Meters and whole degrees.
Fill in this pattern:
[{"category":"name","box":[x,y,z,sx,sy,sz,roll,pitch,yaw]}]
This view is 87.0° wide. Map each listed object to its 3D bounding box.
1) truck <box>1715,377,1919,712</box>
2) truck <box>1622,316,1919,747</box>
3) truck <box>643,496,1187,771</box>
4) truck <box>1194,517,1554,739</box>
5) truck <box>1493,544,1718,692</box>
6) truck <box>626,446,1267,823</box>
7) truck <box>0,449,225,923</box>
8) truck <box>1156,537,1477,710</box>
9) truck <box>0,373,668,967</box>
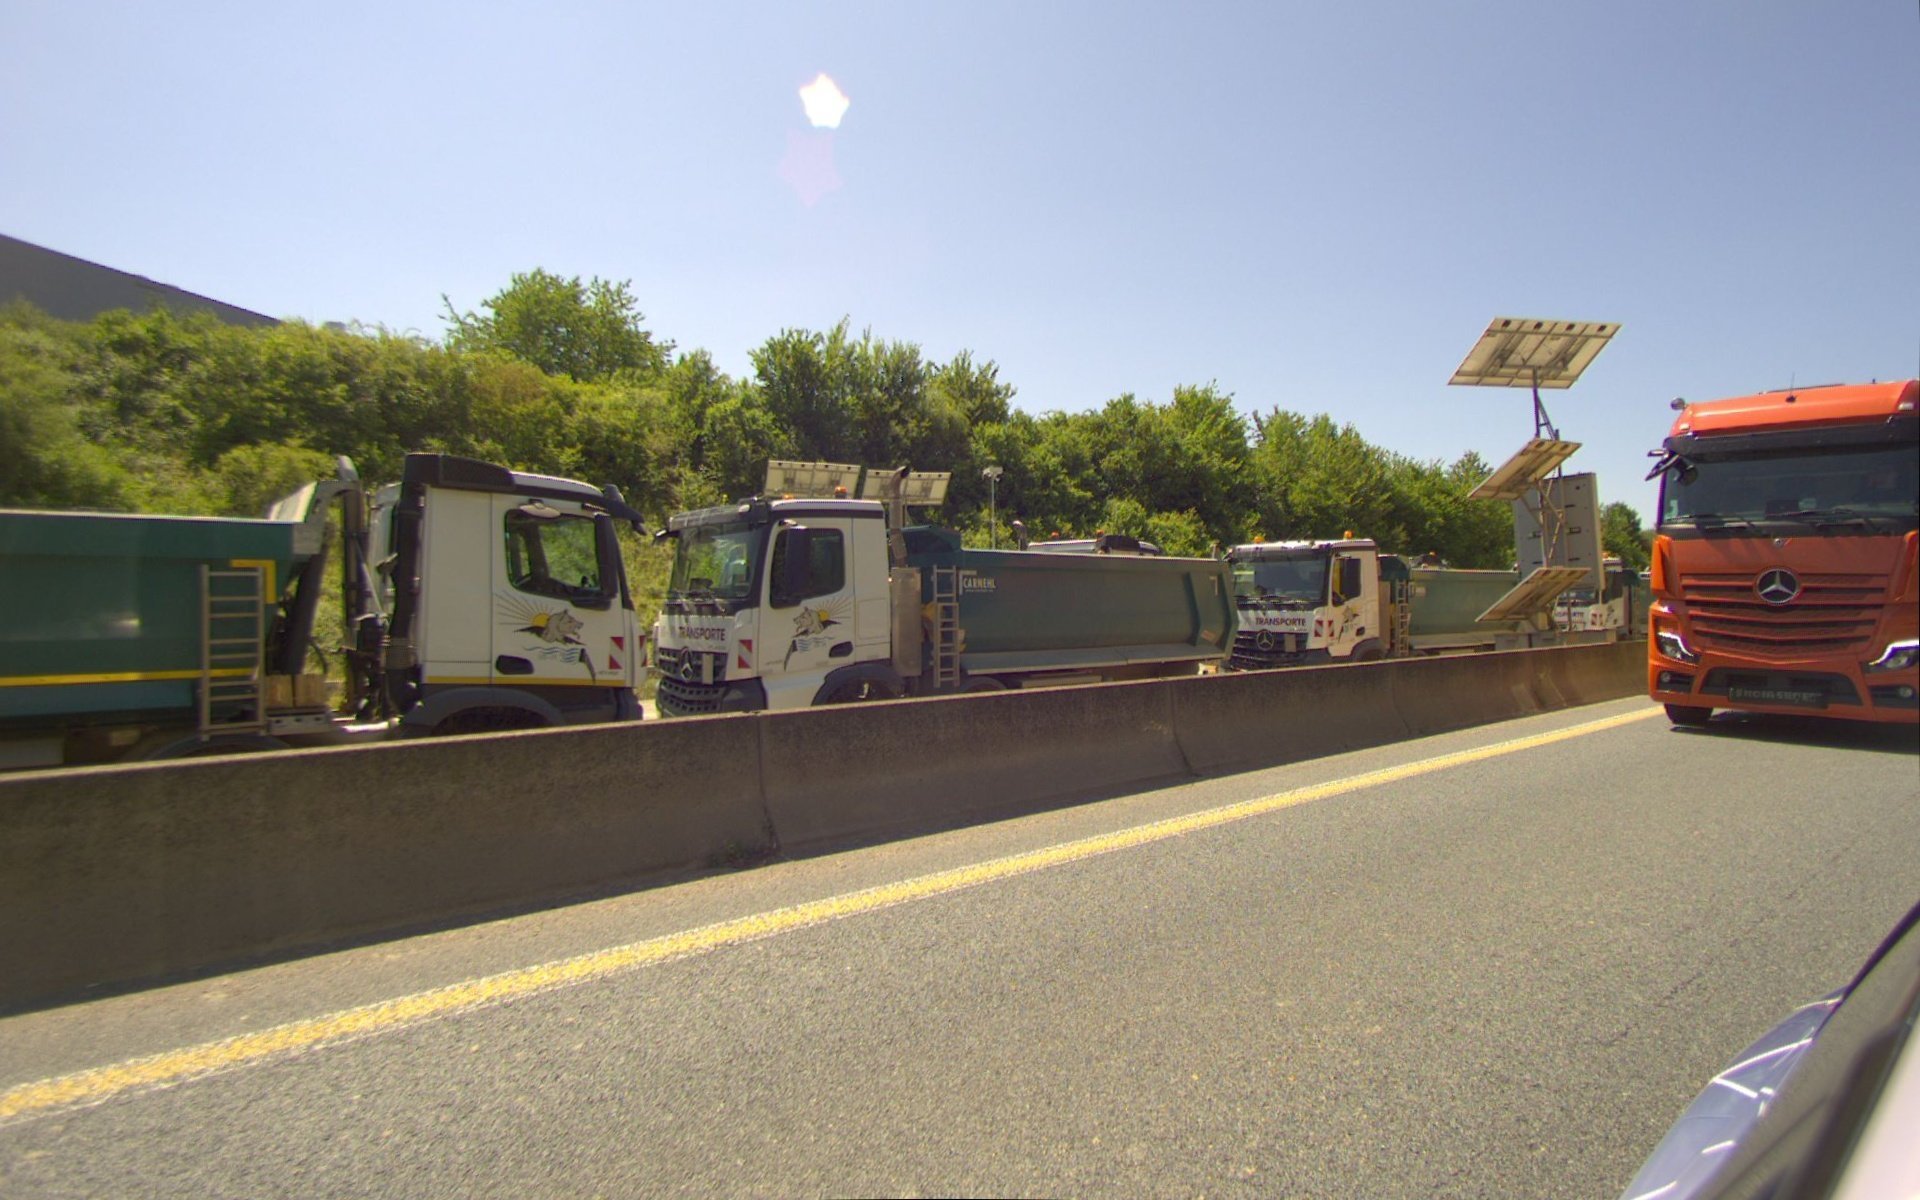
[{"category":"truck","box":[16.201,-0.746,16.905,12.982,4.061,2.688,-1,0,-39]},{"category":"truck","box":[10.893,-0.664,12.519,6.605,4.061,2.687,0,0,-40]},{"category":"truck","box":[-0.191,0.395,16.770,9.436,3.420,2.691,0,0,-41]},{"category":"truck","box":[8.696,0.437,20.453,9.238,3.602,2.693,0,0,-40]},{"category":"truck","box":[18.534,0.424,28.722,9.432,3.602,2.692,0,0,-40]},{"category":"truck","box":[0.447,0.305,13.718,9.163,3.602,2.691,0,0,-41]},{"category":"truck","box":[-10.933,0.702,7.120,9.162,3.808,2.692,0,0,-41]},{"category":"truck","box":[8.778,0.450,24.050,9.430,3.420,2.693,0,0,-39]},{"category":"truck","box":[-6.901,0.424,6.976,9.163,3.602,2.691,0,0,-41]}]
